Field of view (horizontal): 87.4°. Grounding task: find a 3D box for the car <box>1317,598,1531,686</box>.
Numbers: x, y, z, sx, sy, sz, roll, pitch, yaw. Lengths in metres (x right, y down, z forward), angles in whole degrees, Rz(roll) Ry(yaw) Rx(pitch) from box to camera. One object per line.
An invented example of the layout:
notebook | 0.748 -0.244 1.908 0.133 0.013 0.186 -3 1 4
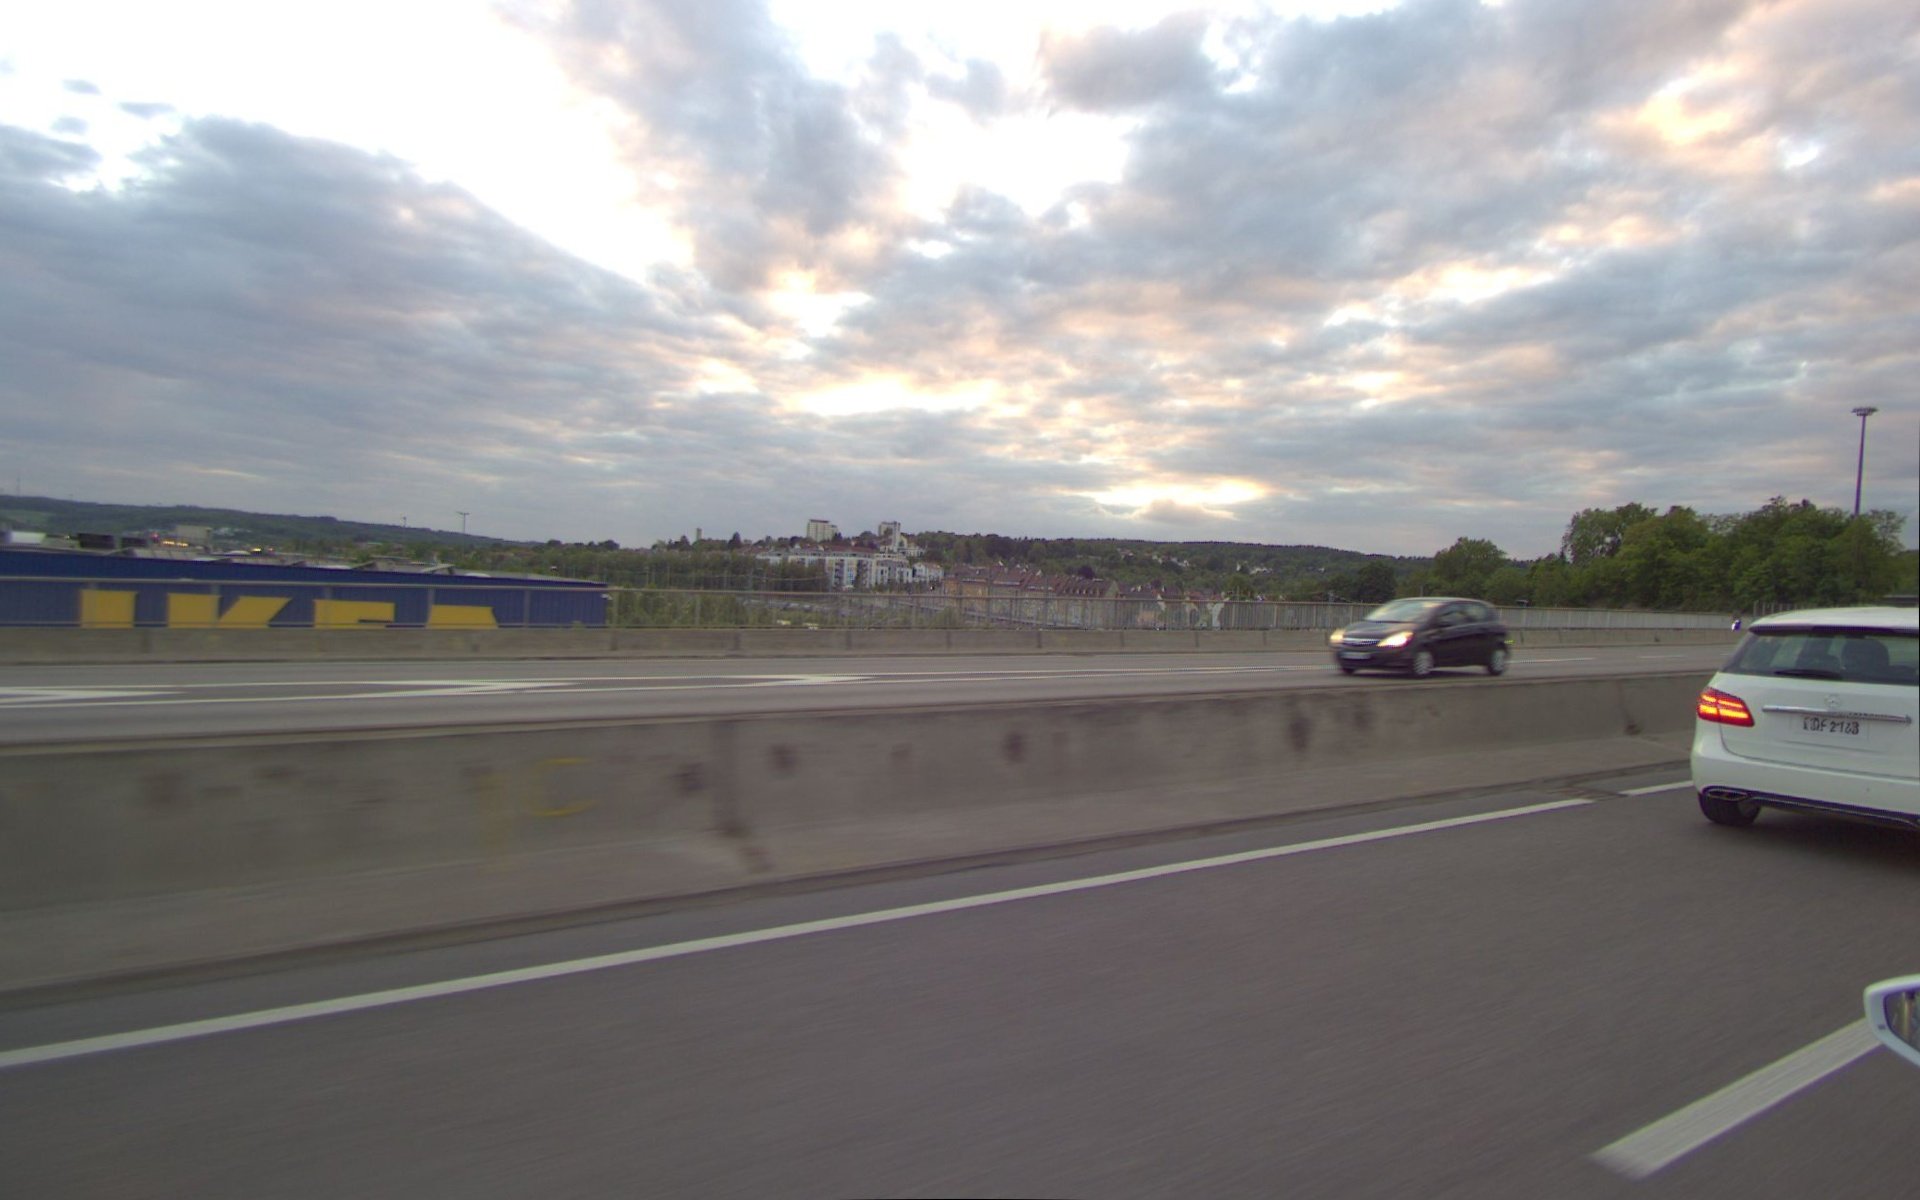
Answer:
car | 8.863 0.754 19.101 4.178 1.496 1.721 1 0 -33

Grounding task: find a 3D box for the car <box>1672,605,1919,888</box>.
car | 7.169 0.887 7.157 4.729 1.557 1.682 2 -1 -31
